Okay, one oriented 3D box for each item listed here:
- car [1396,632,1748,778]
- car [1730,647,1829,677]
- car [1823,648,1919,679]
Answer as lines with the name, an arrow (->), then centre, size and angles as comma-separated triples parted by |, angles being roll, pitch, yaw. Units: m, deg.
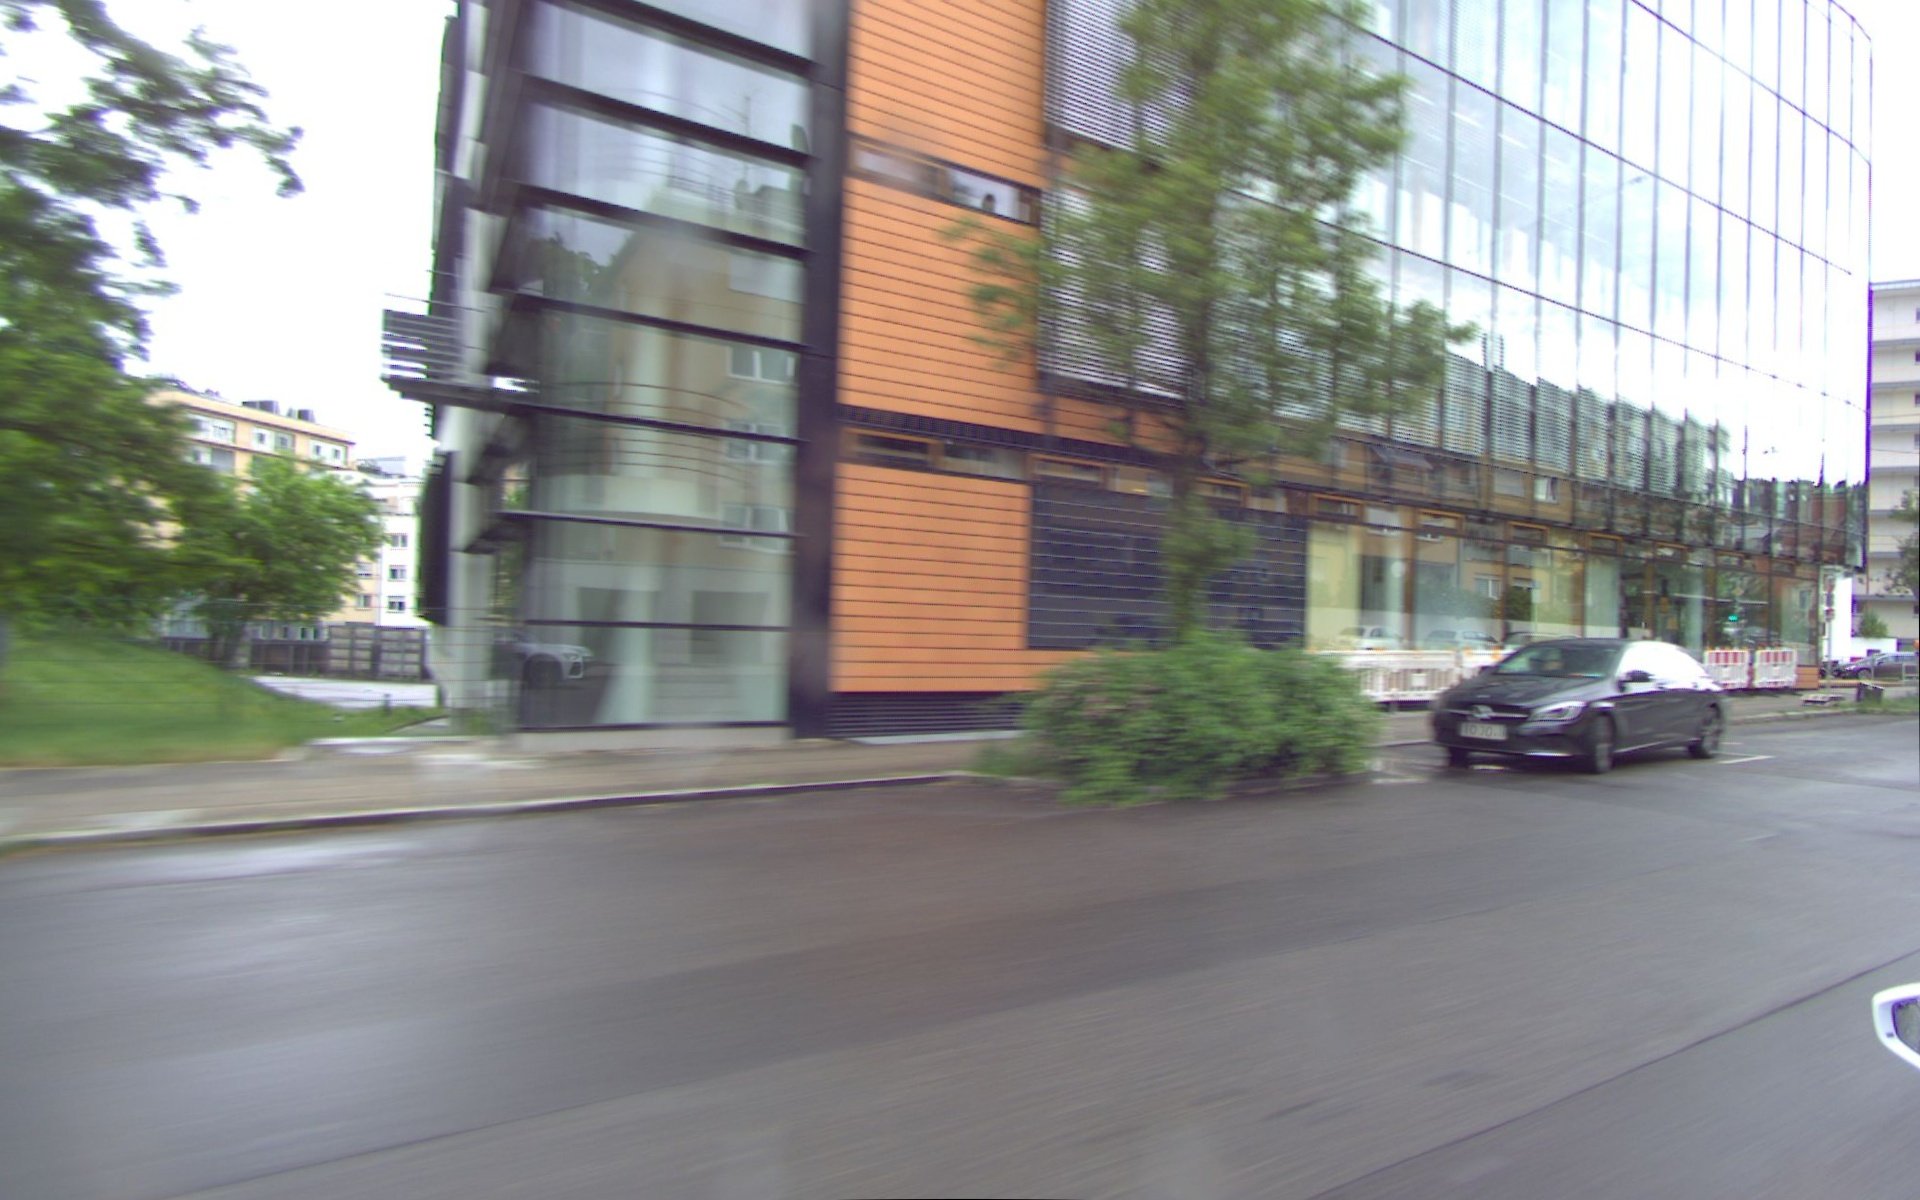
car -> 7.475, 1.173, 12.130 | 4.607, 1.469, 1.793 | 3, -3, -32
car -> 45.841, 3.446, 56.287 | 3.922, 1.530, 1.800 | 0, -1, 22
car -> 49.875, 3.468, 54.738 | 3.922, 1.530, 1.800 | 0, -1, 22
